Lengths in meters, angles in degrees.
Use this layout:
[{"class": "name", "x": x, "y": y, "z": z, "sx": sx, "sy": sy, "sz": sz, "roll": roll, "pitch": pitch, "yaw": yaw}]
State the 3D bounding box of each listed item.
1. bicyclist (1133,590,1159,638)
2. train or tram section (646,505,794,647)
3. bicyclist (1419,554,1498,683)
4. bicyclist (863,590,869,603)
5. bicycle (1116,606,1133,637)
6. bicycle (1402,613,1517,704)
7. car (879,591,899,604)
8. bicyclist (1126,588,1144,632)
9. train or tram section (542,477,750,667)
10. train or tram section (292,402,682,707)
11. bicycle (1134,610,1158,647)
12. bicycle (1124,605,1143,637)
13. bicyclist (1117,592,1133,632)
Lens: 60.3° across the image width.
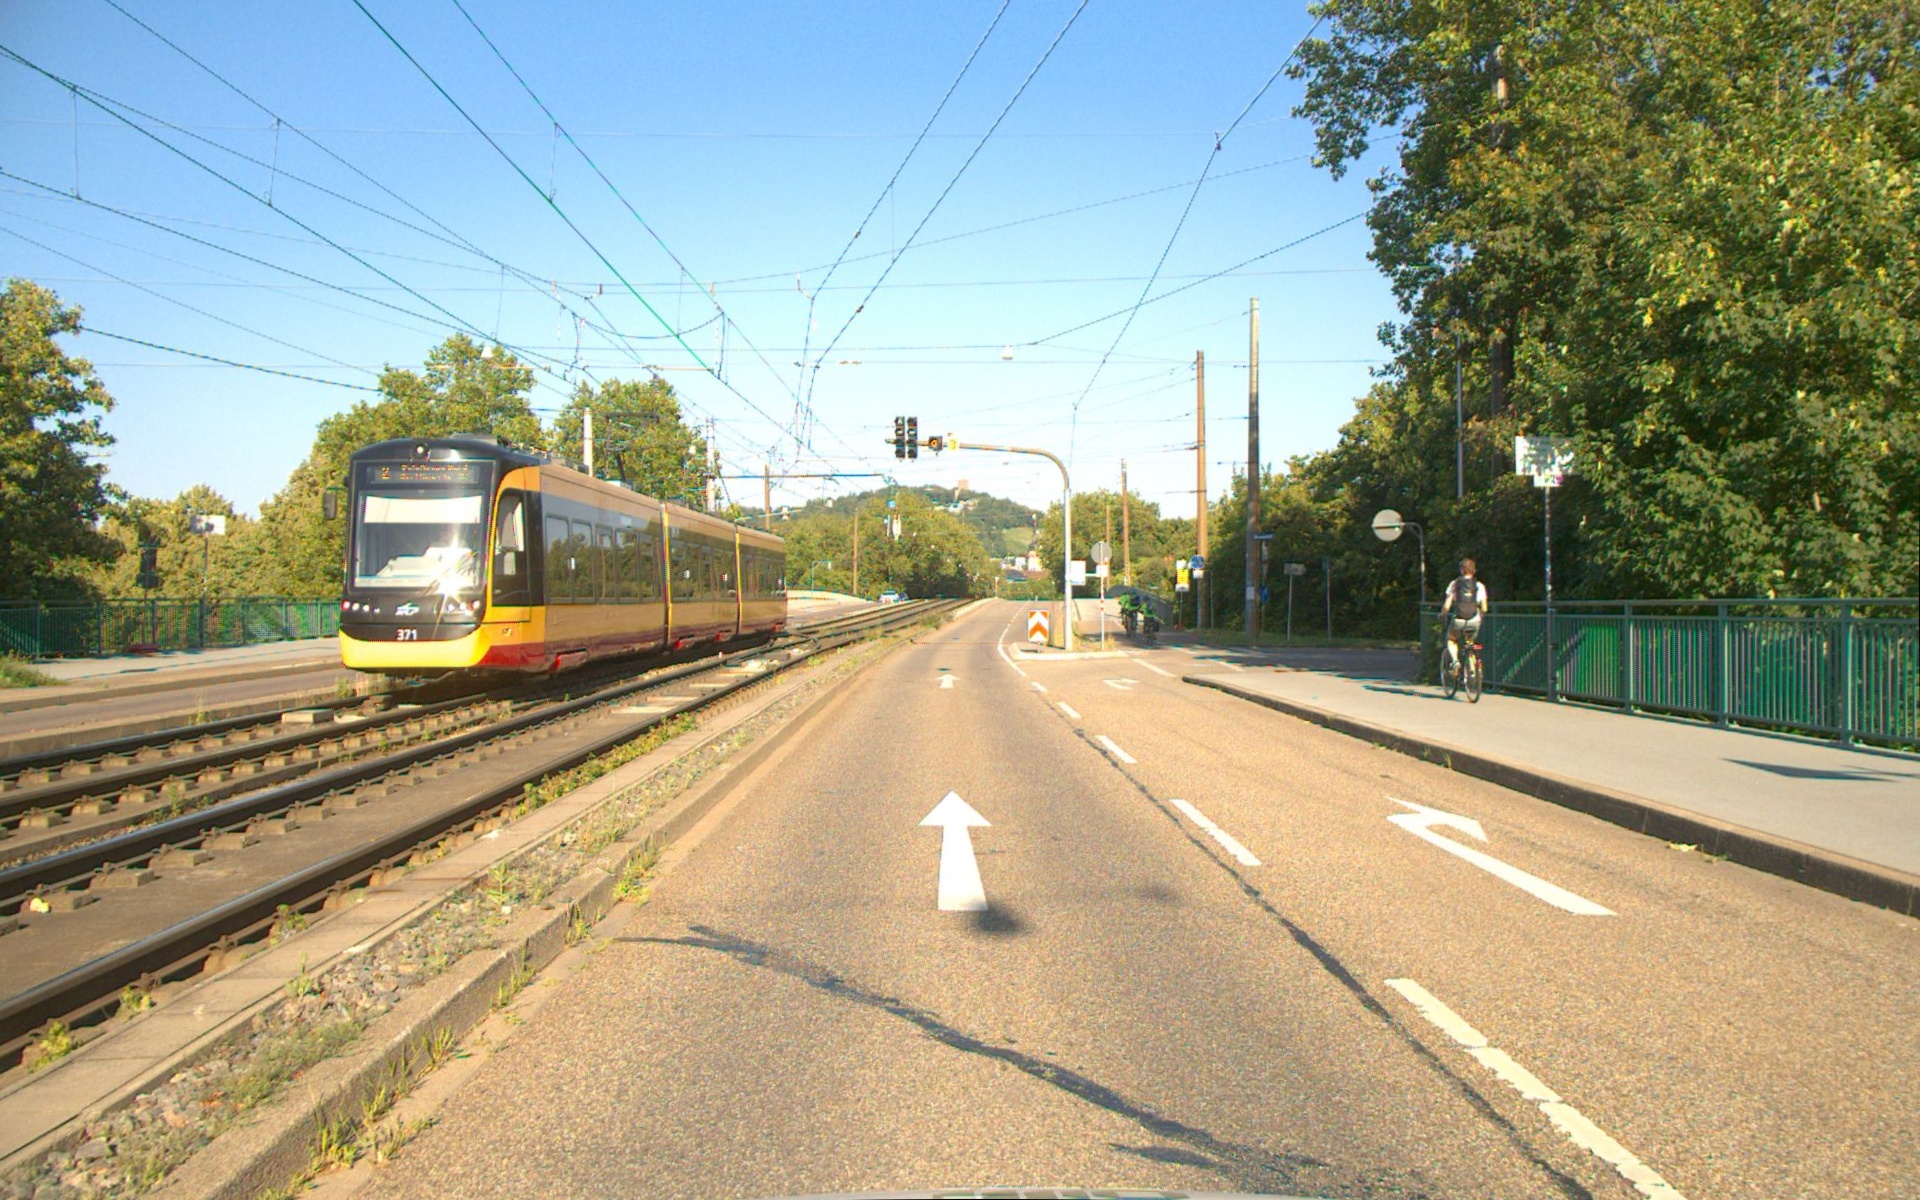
[{"class": "bicyclist", "x": 6.280, "y": 0.473, "z": 55.870, "sx": 0.795, "sy": 1.589, "sz": 0.897, "roll": 0, "pitch": 1, "yaw": 3}, {"class": "train or tram section", "x": -7.362, "y": -0.684, "z": 52.646, "sx": 2.917, "sy": 3.969, "sz": 12.700, "roll": 0, "pitch": 0, "yaw": 0}, {"class": "bicyclist", "x": 6.826, "y": 0.248, "z": 22.692, "sx": 0.716, "sy": 1.719, "sz": 1.202, "roll": 0, "pitch": 0, "yaw": -1}, {"class": "bicyclist", "x": -10.460, "y": -0.388, "z": 184.179, "sx": 0.612, "sy": 1.457, "sz": 0.969, "roll": 0, "pitch": 0, "yaw": 4}, {"class": "bicycle", "x": 6.397, "y": 0.811, "z": 64.269, "sx": 0.612, "sy": 1.142, "sz": 2.261, "roll": 0, "pitch": 1, "yaw": 5}, {"class": "bicycle", "x": 6.812, "y": 0.765, "z": 22.709, "sx": 0.716, "sy": 1.142, "sz": 2.741, "roll": 0, "pitch": 0, "yaw": -1}, {"class": "car", "x": -7.605, "y": -0.263, "z": 178.032, "sx": 1.648, "sy": 1.380, "sz": 4.922, "roll": 0, "pitch": 0, "yaw": 3}, {"class": "bicyclist", "x": 6.470, "y": 0.376, "z": 61.321, "sx": 0.612, "sy": 1.620, "sz": 0.931, "roll": 0, "pitch": 0, "yaw": 3}, {"class": "train or tram section", "x": -7.321, "y": -0.615, "z": 40.484, "sx": 2.915, "sy": 3.969, "sz": 11.663, "roll": 0, "pitch": 0, "yaw": 0}, {"class": "train or tram section", "x": -7.269, "y": -0.623, "z": 28.099, "sx": 2.942, "sy": 3.969, "sz": 13.079, "roll": 0, "pitch": 0, "yaw": 0}, {"class": "bicycle", "x": 6.290, "y": 0.956, "z": 55.896, "sx": 0.669, "sy": 1.142, "sz": 2.217, "roll": 0, "pitch": 1, "yaw": 3}, {"class": "bicycle", "x": 6.432, "y": 0.759, "z": 61.296, "sx": 0.612, "sy": 1.142, "sz": 2.043, "roll": 0, "pitch": 0, "yaw": 3}, {"class": "bicyclist", "x": 6.402, "y": 0.473, "z": 64.267, "sx": 0.612, "sy": 1.534, "sz": 1.006, "roll": 0, "pitch": 0, "yaw": 5}]
